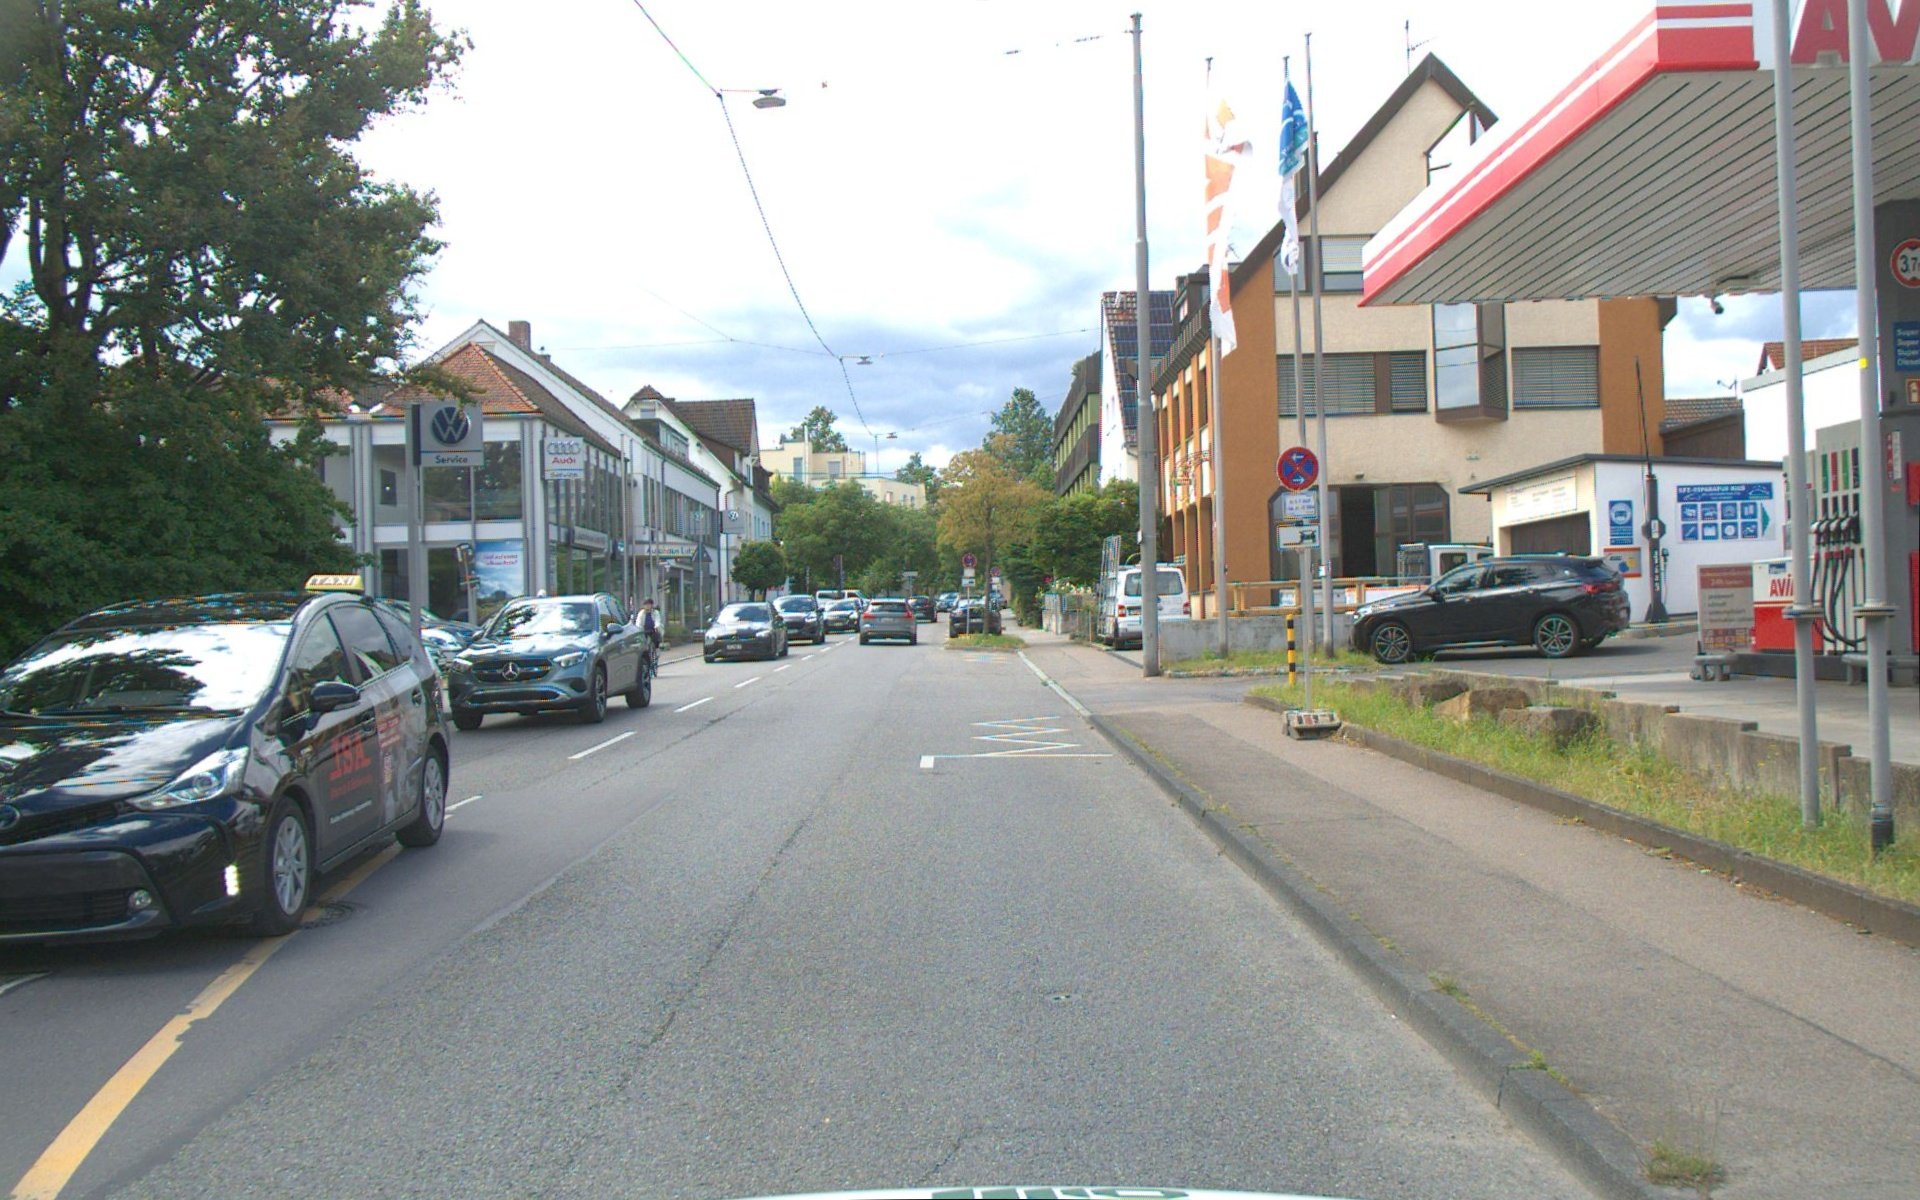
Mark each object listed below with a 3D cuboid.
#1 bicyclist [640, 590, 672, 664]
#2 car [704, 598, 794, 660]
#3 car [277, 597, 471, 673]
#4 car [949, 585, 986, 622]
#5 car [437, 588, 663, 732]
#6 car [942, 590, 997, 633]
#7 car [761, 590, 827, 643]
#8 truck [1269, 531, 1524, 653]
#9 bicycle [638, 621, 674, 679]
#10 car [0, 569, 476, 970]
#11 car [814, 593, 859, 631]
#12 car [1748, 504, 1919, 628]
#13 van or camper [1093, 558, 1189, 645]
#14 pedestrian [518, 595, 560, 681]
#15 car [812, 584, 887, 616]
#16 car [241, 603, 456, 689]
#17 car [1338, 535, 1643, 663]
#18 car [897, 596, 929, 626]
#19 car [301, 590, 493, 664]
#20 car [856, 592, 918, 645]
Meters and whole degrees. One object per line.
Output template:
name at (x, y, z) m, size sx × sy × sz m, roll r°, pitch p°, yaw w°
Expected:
bicyclist at (-6.275, 0.549, 34.176) m, size 0.460 × 1.474 × 0.864 m, roll -3°, pitch 0°, yaw -4°
car at (-5.424, 0.709, 43.001) m, size 1.705 × 1.454 × 4.524 m, roll -3°, pitch 0°, yaw 0°
car at (-12.729, 0.747, 36.049) m, size 3.664 × 1.587 × 1.534 m, roll 1°, pitch 0°, yaw -3°
car at (0.401, 0.182, 81.269) m, size 1.655 × 1.695 × 4.462 m, roll -2°, pitch -1°, yaw 1°
car at (-5.412, 0.720, 22.463) m, size 1.827 × 1.646 × 4.535 m, roll -3°, pitch 1°, yaw 1°
car at (0.338, 0.437, 61.987) m, size 1.944 × 1.473 × 4.751 m, roll -2°, pitch -1°, yaw 0°
car at (-5.550, 0.530, 55.594) m, size 1.794 × 1.658 × 4.320 m, roll -2°, pitch 0°, yaw -1°
truck at (9.562, -0.190, 36.560) m, size 4.983 × 2.500 × 2.357 m, roll -1°, pitch 1°, yaw -1°
bicycle at (-6.260, 1.012, 34.083) m, size 0.445 × 1.105 × 1.868 m, roll -3°, pitch 0°, yaw -3°
car at (-4.019, 0.692, 8.788) m, size 1.829 × 1.554 × 4.524 m, roll -2°, pitch 0°, yaw -4°
car at (-5.298, 0.541, 71.555) m, size 1.795 × 1.550 × 4.168 m, roll -2°, pitch -1°, yaw -3°
car at (14.224, -0.485, 24.403) m, size 4.498 × 1.747 × 1.826 m, roll -1°, pitch -1°, yaw 20°
van or camper at (4.526, 0.066, 41.914) m, size 1.829 × 2.067 × 4.546 m, roll -1°, pitch -1°, yaw -1°
pedestrian at (-8.815, 0.792, 34.661) m, size 0.669 × 1.767 × 0.868 m, roll 0°, pitch -1°, yaw -1°
car at (-8.329, -0.015, 124.366) m, size 5.103 × 2.028 × 2.110 m, roll -4°, pitch 0°, yaw 18°
car at (-12.275, 0.902, 33.380) m, size 3.664 × 1.545 × 1.728 m, roll -2°, pitch 0°, yaw -2°
car at (8.362, 0.001, 26.236) m, size 4.232 × 1.658 × 1.630 m, roll -5°, pitch 0°, yaw 35°
car at (-2.590, 0.591, 90.312) m, size 1.582 × 1.550 × 3.567 m, roll -2°, pitch -1°, yaw -3°
car at (-13.195, 0.627, 38.933) m, size 3.932 × 1.659 × 1.653 m, roll 1°, pitch 0°, yaw -3°
car at (-2.342, 0.645, 54.051) m, size 1.916 × 1.550 × 4.327 m, roll -1°, pitch -3°, yaw -2°
